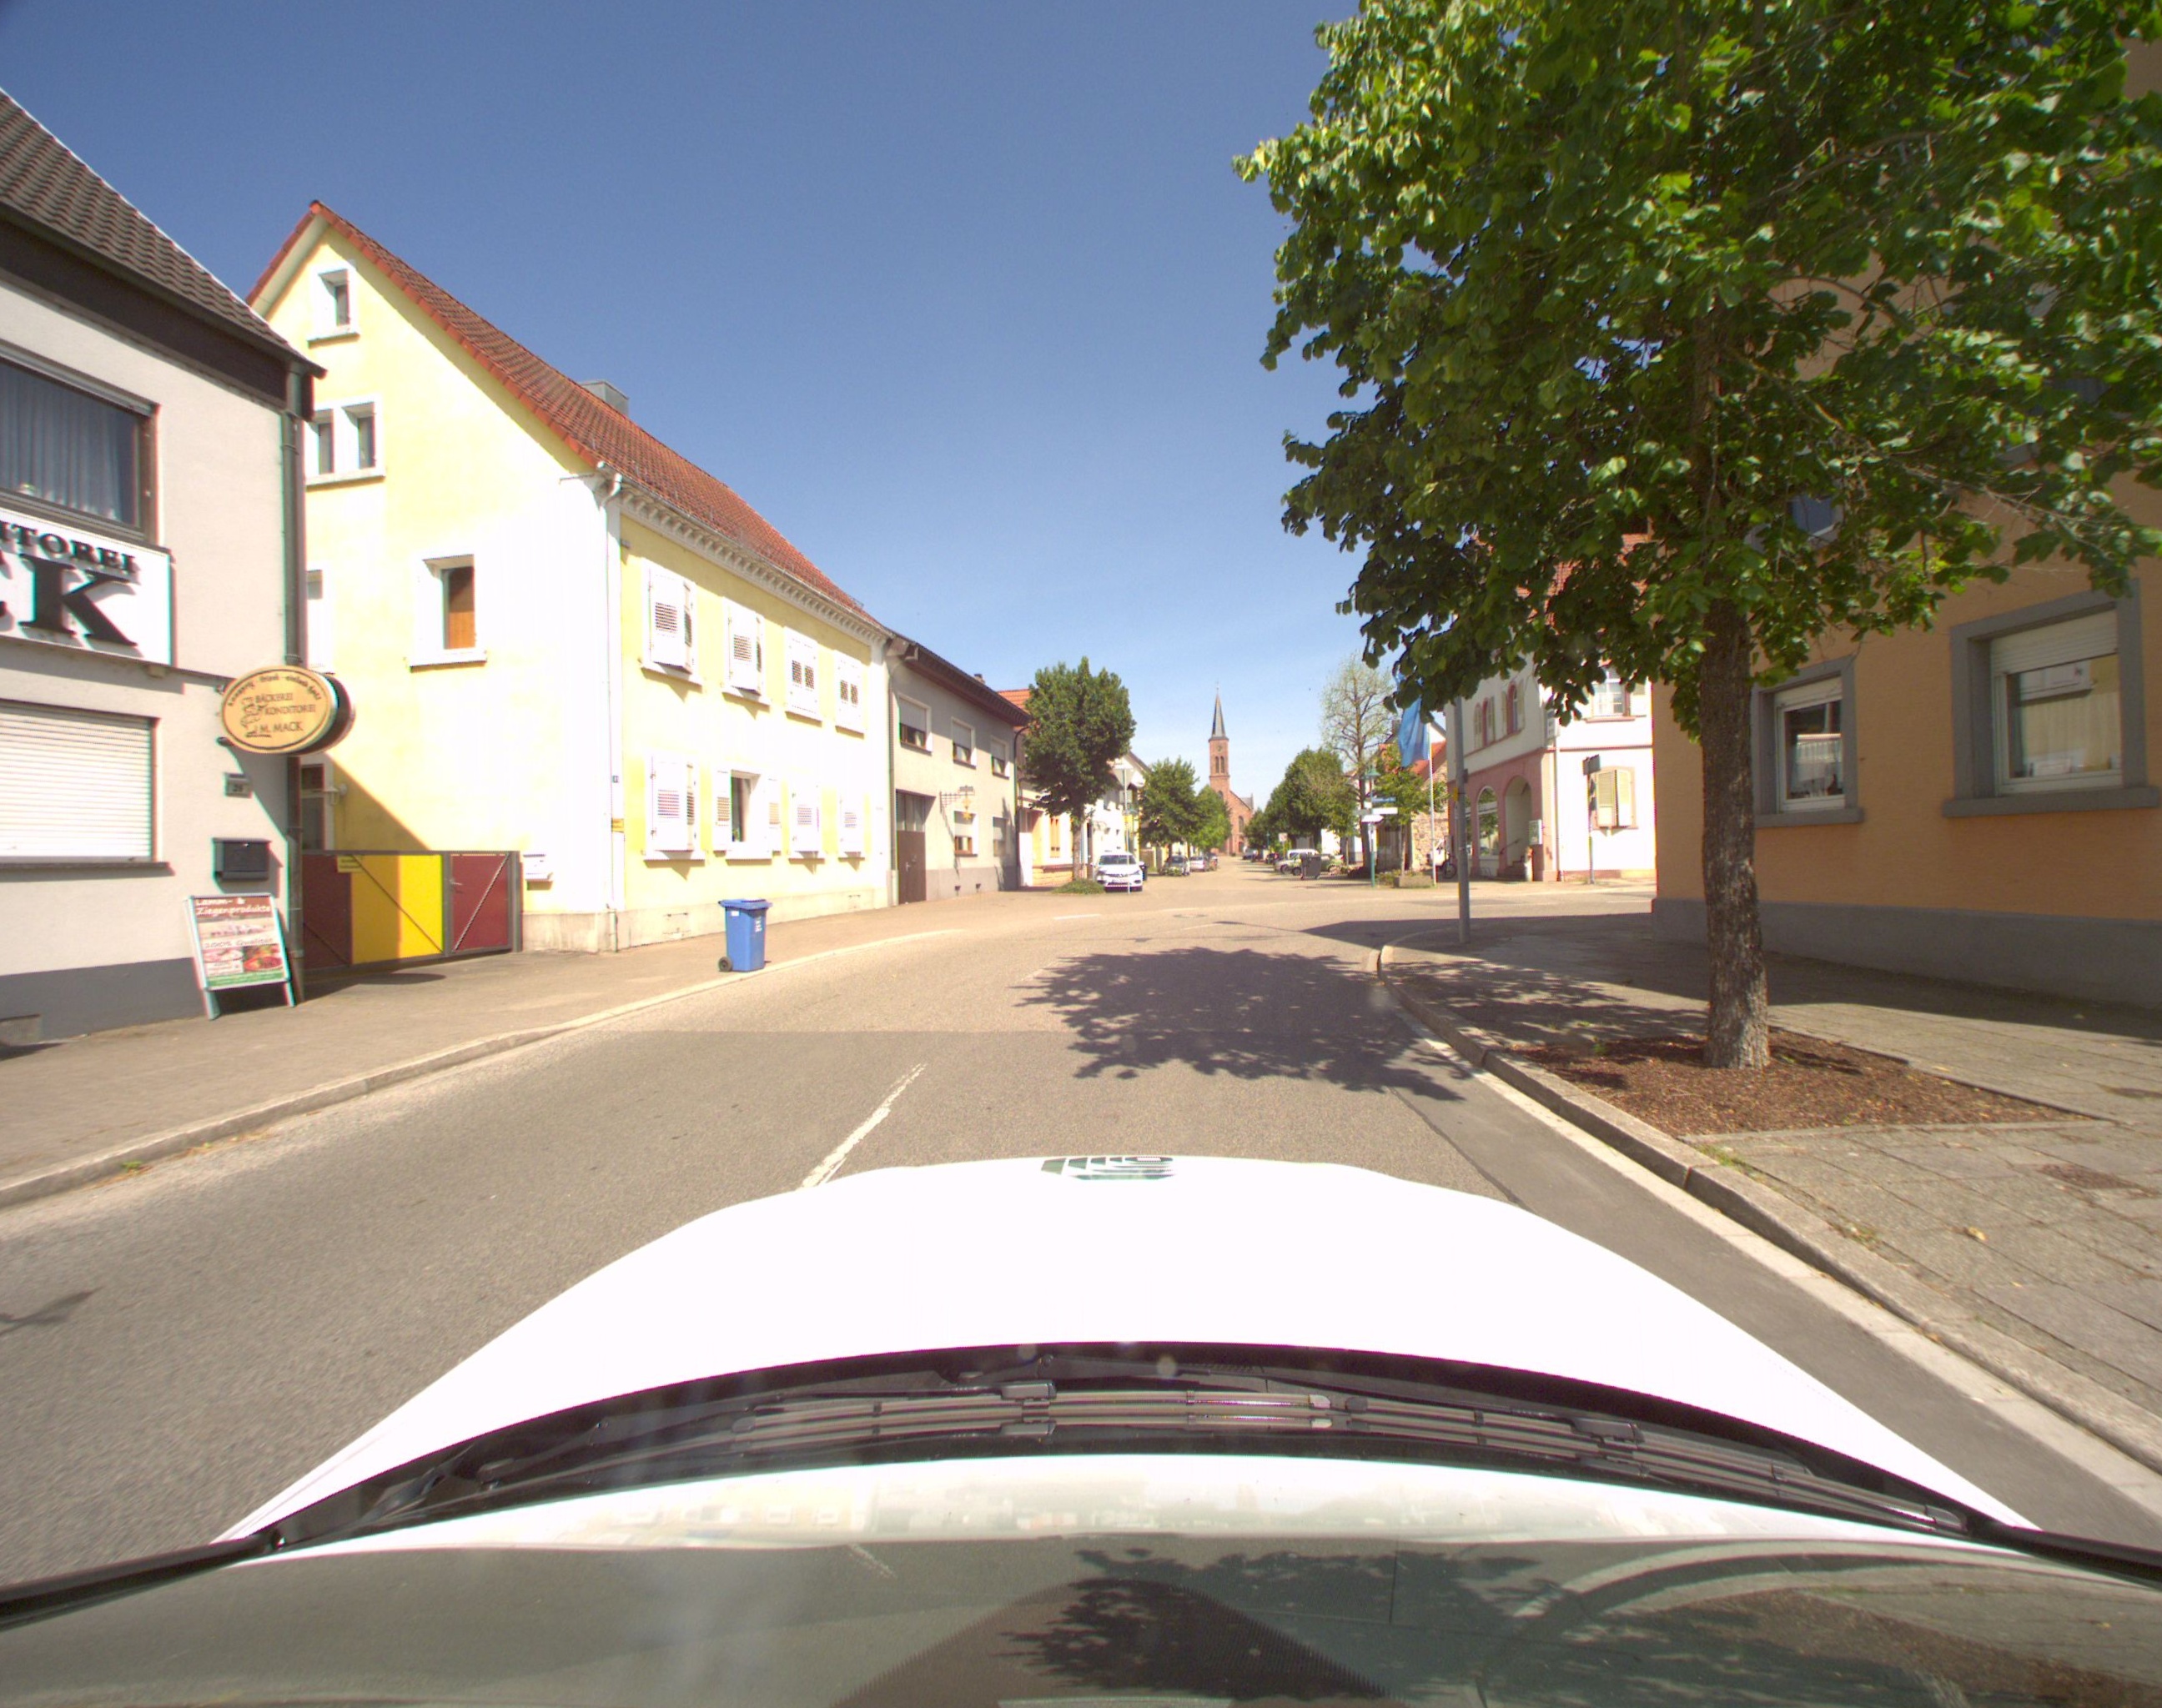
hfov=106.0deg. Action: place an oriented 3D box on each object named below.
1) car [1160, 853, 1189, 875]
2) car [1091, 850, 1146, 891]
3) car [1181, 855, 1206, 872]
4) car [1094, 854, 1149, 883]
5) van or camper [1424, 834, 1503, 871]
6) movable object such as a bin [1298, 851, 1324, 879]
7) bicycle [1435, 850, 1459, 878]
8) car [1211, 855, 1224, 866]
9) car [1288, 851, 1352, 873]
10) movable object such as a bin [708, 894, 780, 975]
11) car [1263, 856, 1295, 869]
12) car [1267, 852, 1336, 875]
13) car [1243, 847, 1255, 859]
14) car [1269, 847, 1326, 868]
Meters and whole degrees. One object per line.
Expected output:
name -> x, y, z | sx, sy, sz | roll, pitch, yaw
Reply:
car -> 7.347, 0.762, 63.546 | 1.981, 1.574, 4.011 | -2, 0, 10
car -> 1.366, 0.596, 31.280 | 1.843, 1.440, 4.512 | -1, 0, 0
car -> 10.191, 0.820, 74.154 | 1.984, 1.464, 4.005 | -1, 0, 4
car -> 2.295, 0.772, 44.601 | 1.970, 1.440, 5.231 | -1, 0, 14
van or camper -> 22.296, -0.071, 47.660 | 3.954, 2.013, 2.010 | -2, 0, 19
movable object such as a bin -> 11.701, 0.555, 41.460 | 1.179, 1.338, 0.792 | -2, -1, 14
bicycle -> 15.798, 0.419, 35.187 | 0.589, 1.136, 1.755 | -2, 0, 14
car -> 24.060, 1.128, 143.824 | 1.983, 1.816, 4.008 | -2, 0, 7
car -> 15.741, 0.508, 53.853 | 3.899, 1.344, 2.006 | -1, 0, 10
movable object such as a bin -> -4.366, 1.025, 10.576 | 0.640, 0.980, 0.614 | -1, 0, 3
car -> 26.364, 1.120, 108.759 | 3.963, 1.618, 2.005 | -2, 0, 9
car -> 16.275, 0.704, 60.347 | 4.773, 1.623, 2.006 | -1, 0, 10
car -> 32.699, -0.213, 158.526 | 2.230, 2.279, 4.516 | 0, -1, 11
car -> 16.724, 0.264, 63.002 | 4.124, 1.568, 2.006 | -1, 0, 10
